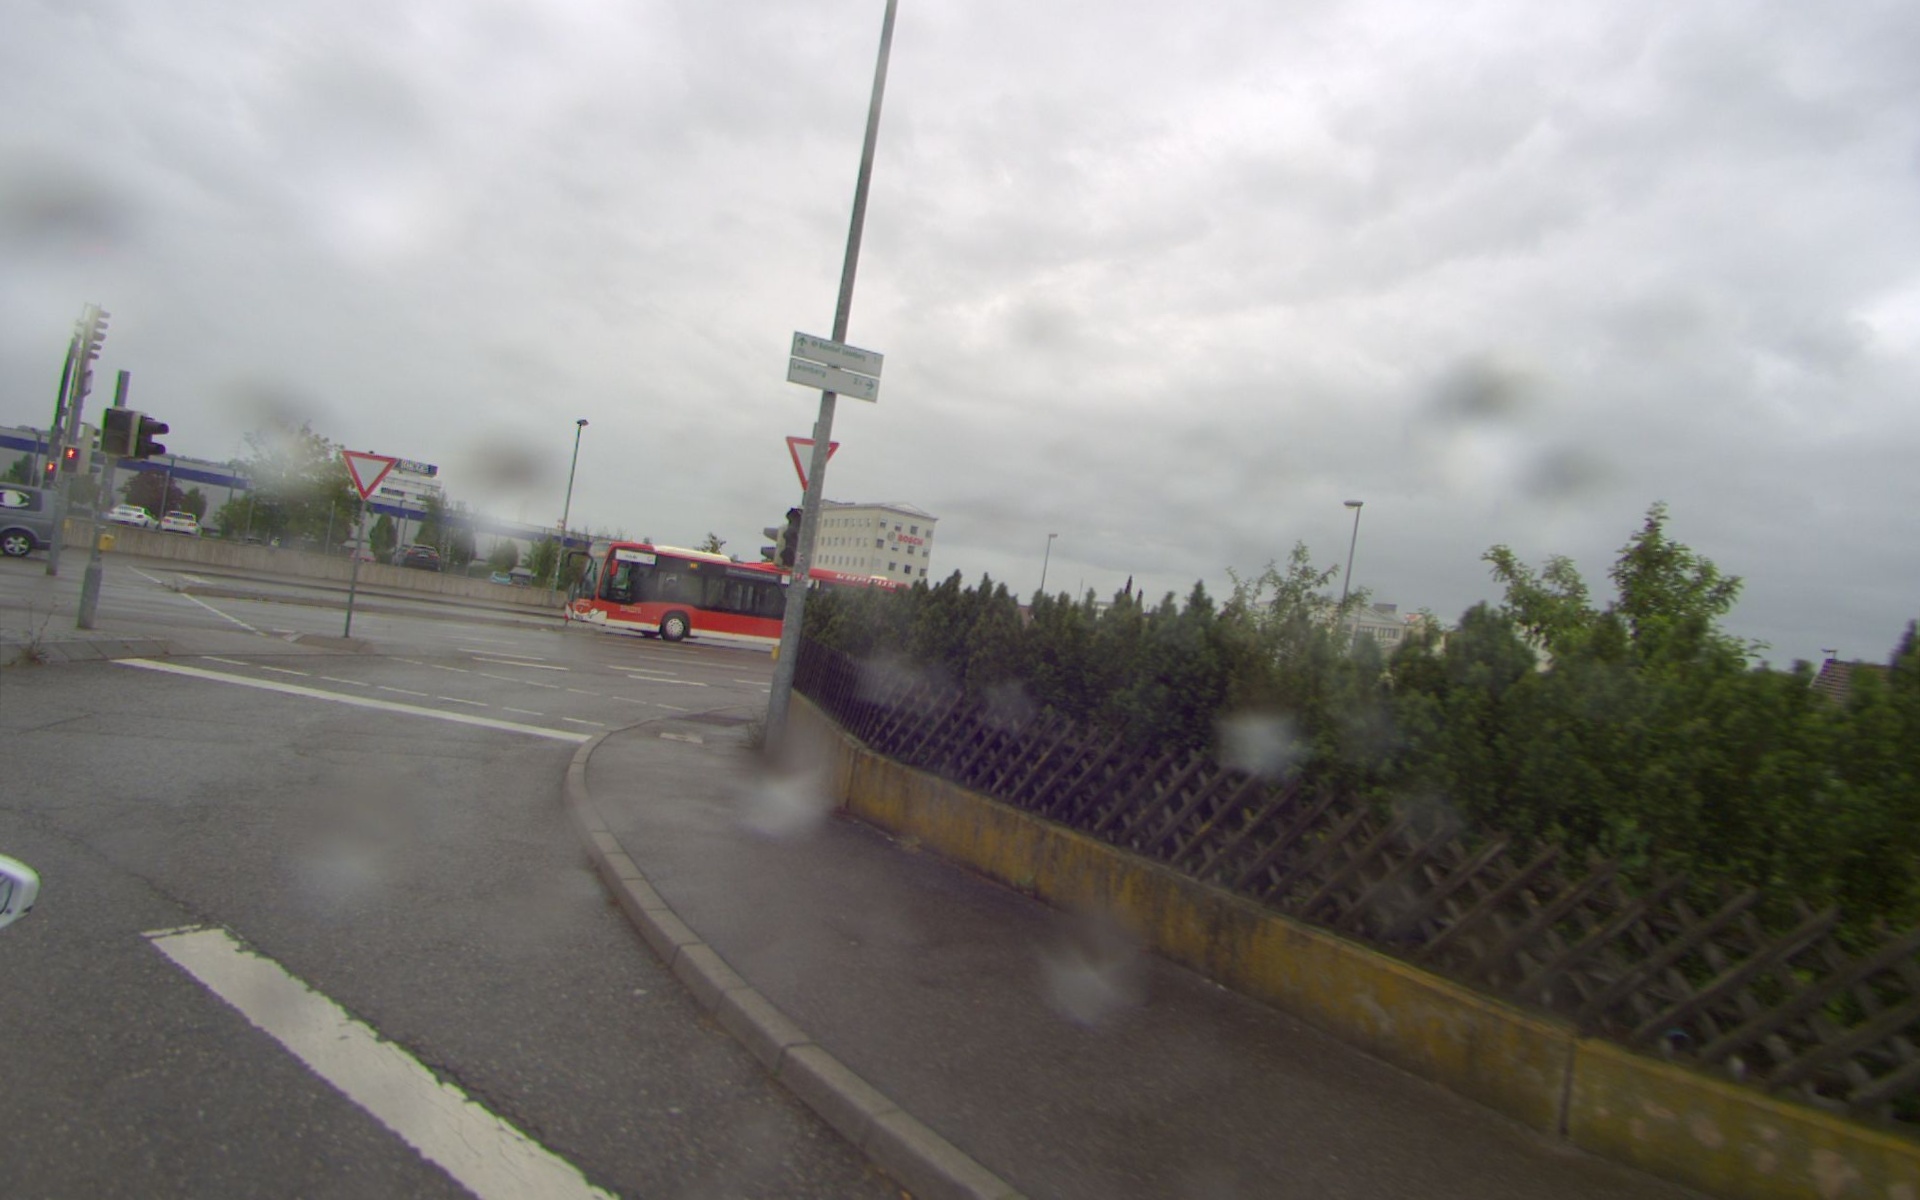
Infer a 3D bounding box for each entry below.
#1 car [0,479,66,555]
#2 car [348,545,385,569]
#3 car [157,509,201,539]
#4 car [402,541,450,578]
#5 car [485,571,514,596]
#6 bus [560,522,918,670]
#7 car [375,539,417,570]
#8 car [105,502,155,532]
[{"bbox_3d":[-27.176,-2.503,27.443,3.978,1.870,1.975,10,-2,-44],"label":"car"},{"bbox_3d":[-46.048,-3.326,78.074,1.749,1.496,3.631,8,-1,-21],"label":"car"},{"bbox_3d":[-49.284,-4.779,63.549,1.984,1.495,3.960,9,-2,-37],"label":"car"},{"bbox_3d":[-30.296,-2.264,57.195,1.748,1.735,3.632,8,-1,-20],"label":"car"},{"bbox_3d":[-38.177,-1.383,83.509,1.749,1.735,3.631,8,-1,-21],"label":"car"},{"bbox_3d":[-7.502,0.049,36.278,12.229,3.358,3.043,11,-2,-38],"label":"bus"},{"bbox_3d":[-36.970,-2.963,65.994,1.699,1.735,3.630,8,-1,-22],"label":"car"},{"bbox_3d":[-51.047,-5.087,61.925,1.984,1.495,3.960,9,-2,-36],"label":"car"}]
